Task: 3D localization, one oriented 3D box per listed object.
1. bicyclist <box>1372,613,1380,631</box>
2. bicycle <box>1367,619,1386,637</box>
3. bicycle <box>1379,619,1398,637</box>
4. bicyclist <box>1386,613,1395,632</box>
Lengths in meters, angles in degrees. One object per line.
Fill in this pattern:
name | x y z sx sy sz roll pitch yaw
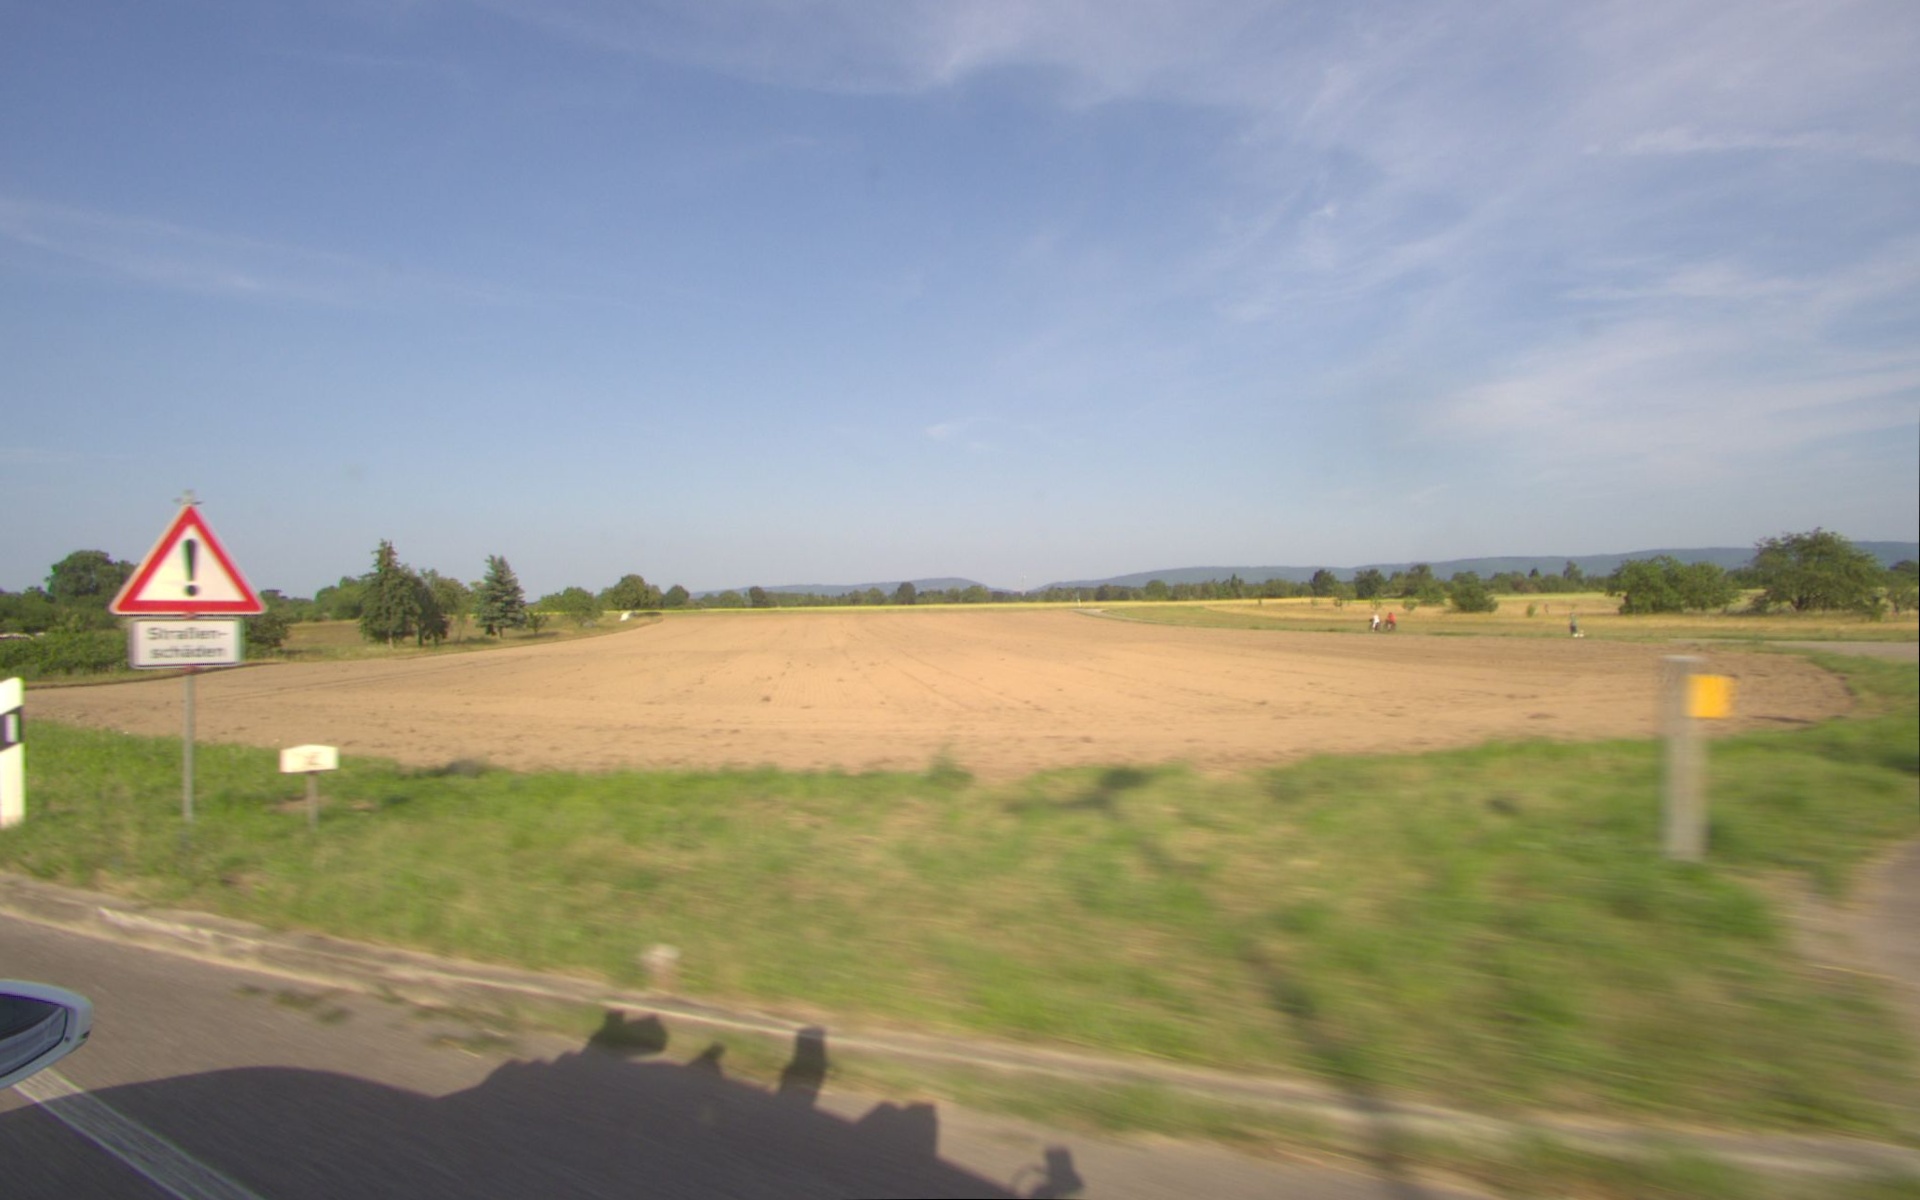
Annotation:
bicyclist | 37.589 2.005 90.459 0.479 1.617 0.550 0 -1 -16
bicycle | 37.589 2.536 90.452 0.494 1.550 1.975 0 -2 -15
bicycle | 38.561 2.524 90.177 0.494 1.550 1.975 0 -2 -15
bicyclist | 38.641 2.020 89.900 0.479 1.617 0.550 0 -1 -16
